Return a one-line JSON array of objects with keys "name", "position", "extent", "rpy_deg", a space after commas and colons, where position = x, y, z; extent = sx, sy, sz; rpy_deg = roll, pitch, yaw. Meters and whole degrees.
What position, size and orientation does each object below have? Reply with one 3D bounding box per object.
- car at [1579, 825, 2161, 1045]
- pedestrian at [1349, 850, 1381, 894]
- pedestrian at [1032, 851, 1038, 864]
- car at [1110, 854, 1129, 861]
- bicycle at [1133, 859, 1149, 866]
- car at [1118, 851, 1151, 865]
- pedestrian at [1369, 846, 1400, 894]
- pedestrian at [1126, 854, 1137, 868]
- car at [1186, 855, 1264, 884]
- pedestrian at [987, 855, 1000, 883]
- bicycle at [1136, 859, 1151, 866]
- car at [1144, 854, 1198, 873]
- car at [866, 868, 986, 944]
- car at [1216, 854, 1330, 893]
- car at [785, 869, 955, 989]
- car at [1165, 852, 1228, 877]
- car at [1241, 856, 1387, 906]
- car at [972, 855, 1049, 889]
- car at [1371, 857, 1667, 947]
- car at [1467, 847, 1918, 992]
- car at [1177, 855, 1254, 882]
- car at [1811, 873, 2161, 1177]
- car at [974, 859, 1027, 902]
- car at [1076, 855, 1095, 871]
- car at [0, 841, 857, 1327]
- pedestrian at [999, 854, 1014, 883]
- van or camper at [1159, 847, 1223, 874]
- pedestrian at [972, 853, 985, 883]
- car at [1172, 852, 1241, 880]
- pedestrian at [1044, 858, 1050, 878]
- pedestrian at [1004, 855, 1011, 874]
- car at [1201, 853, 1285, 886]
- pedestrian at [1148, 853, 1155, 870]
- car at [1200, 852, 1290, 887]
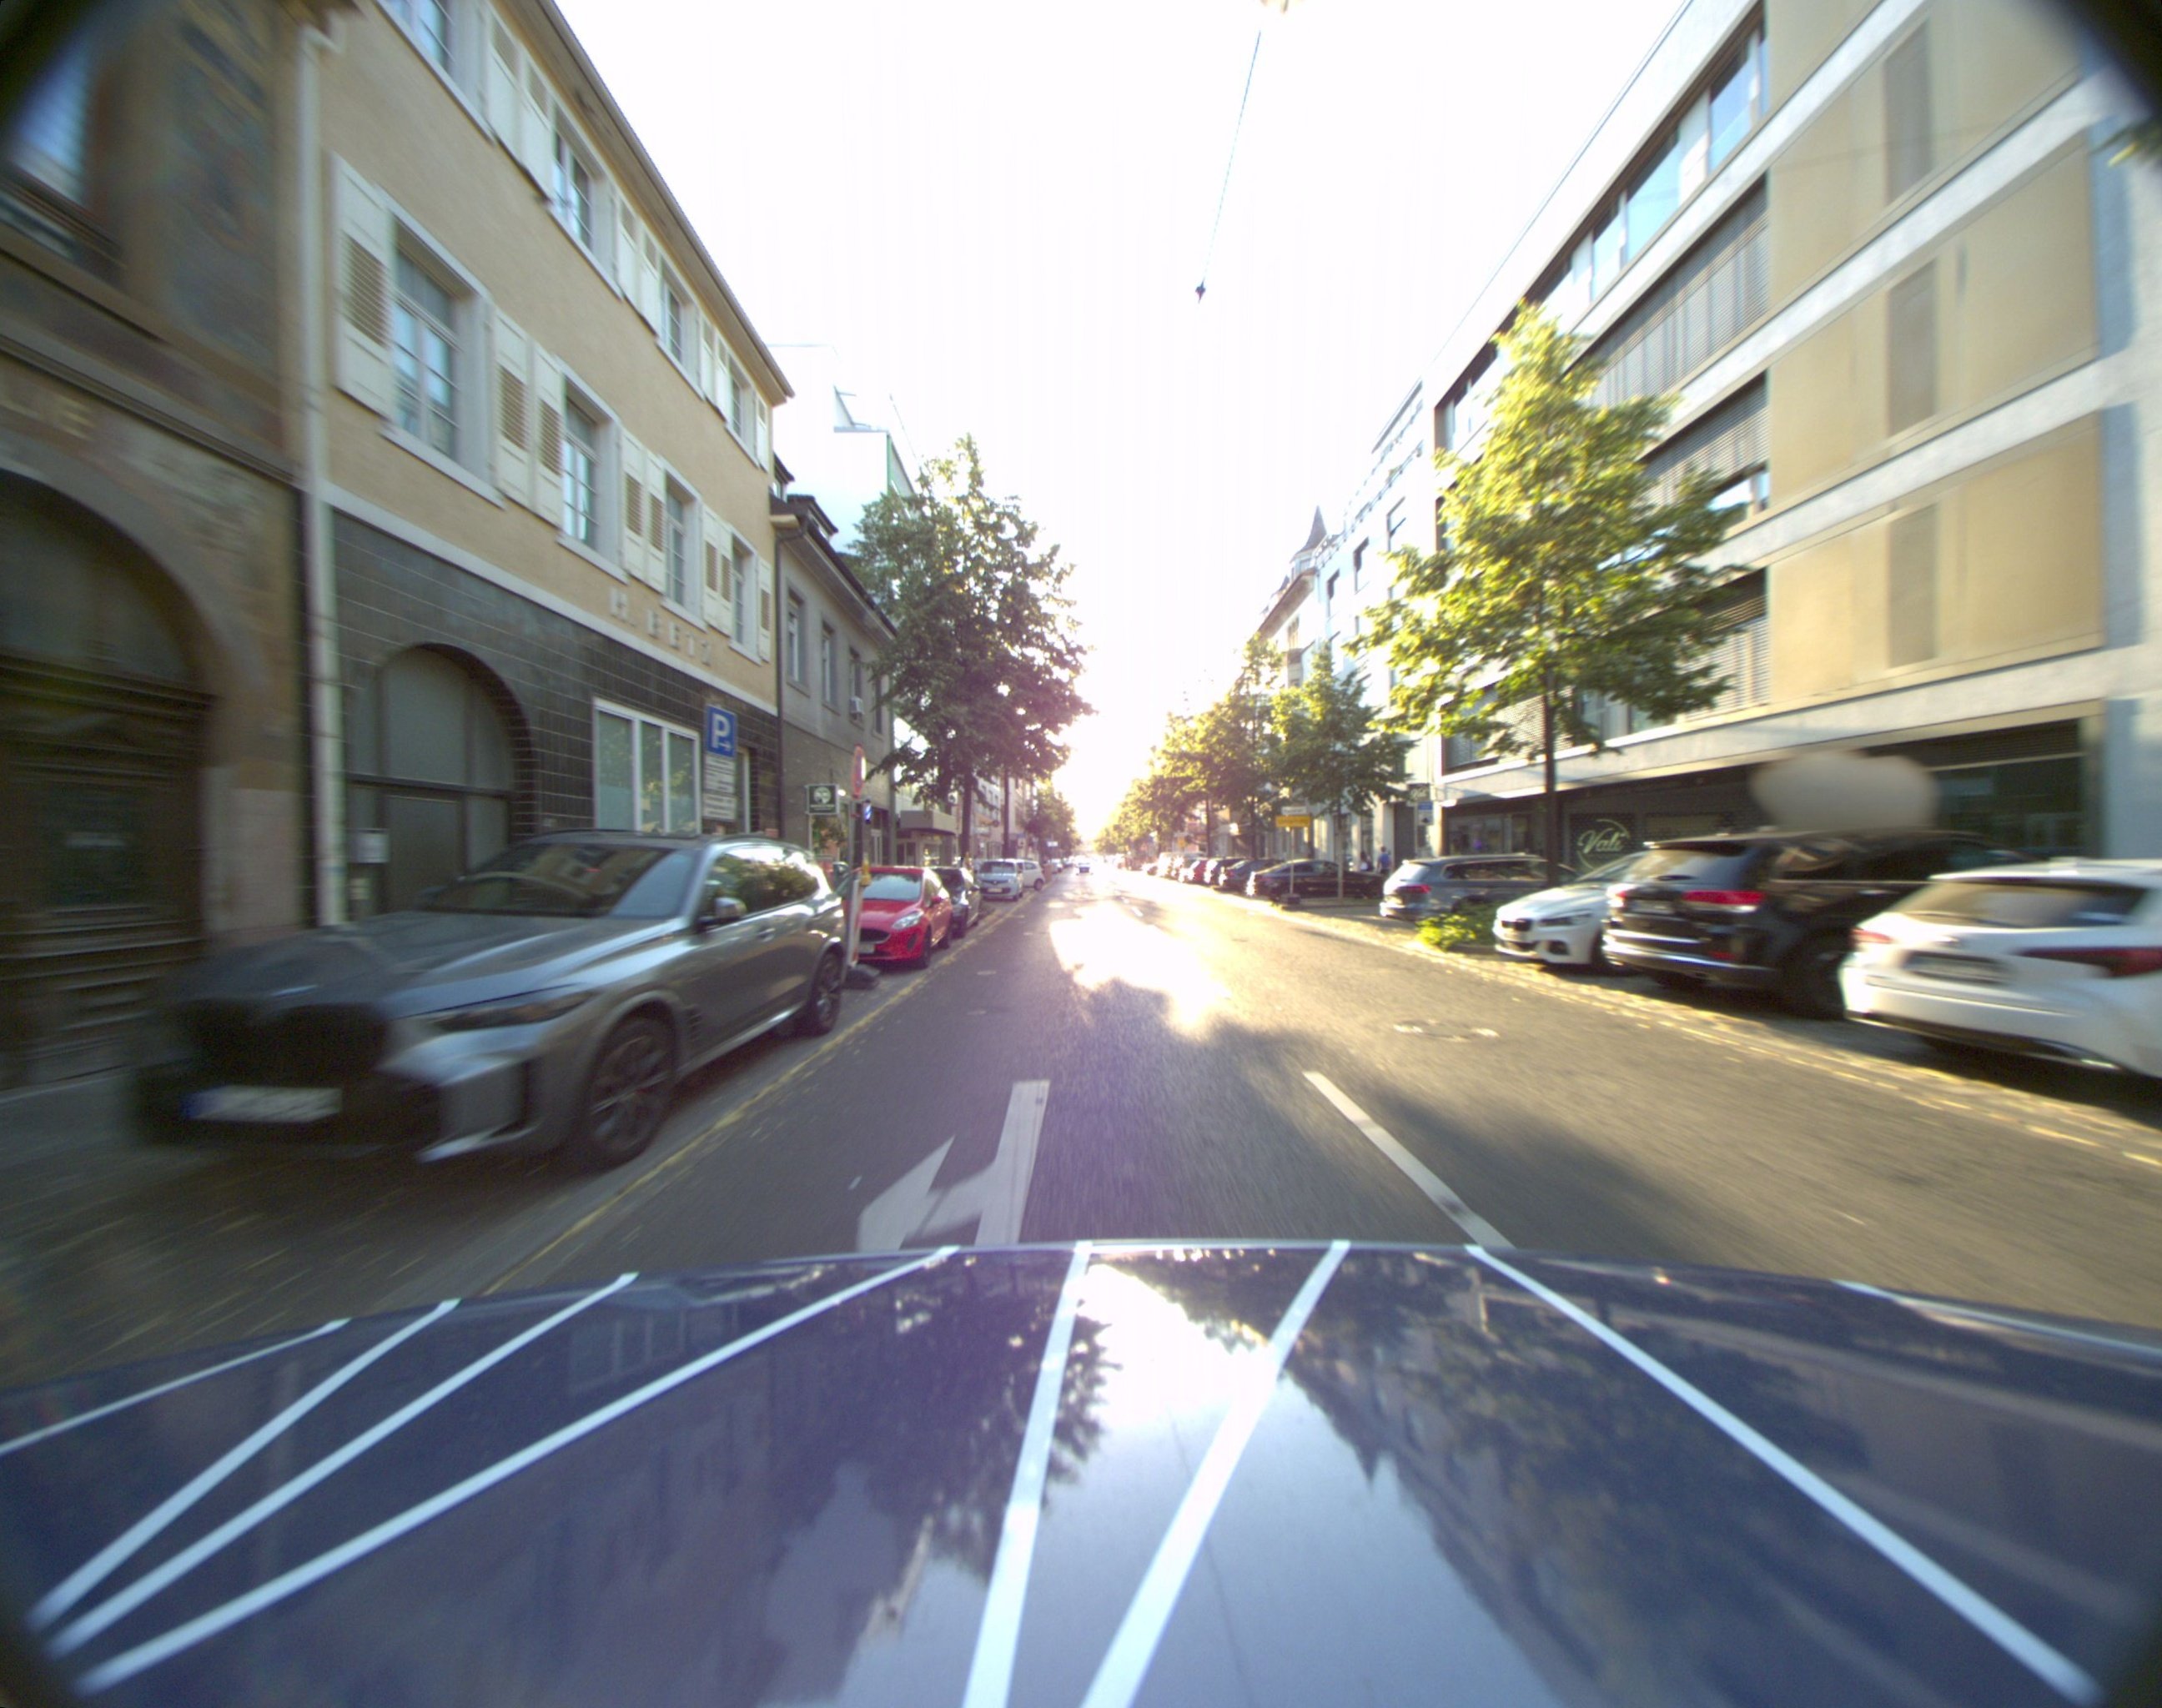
[{"name": "car", "position": [7.627, 0.683, 7.520], "extent": [4.160, 1.762, 1.889], "rpy_deg": [-2, 0, -2]}, {"name": "pedestrian", "position": [10.687, 0.677, 28.604], "extent": [0.721, 1.593, 1.094], "rpy_deg": [-3, 0, 0]}, {"name": "pedestrian", "position": [-5.900, 0.452, 96.972], "extent": [0.719, 1.565, 0.756], "rpy_deg": [1, 1, 1]}, {"name": "car", "position": [8.379, 0.793, 166.671], "extent": [4.151, 1.469, 1.827], "rpy_deg": [-1, 0, 1]}, {"name": "bicycle", "position": [7.168, 1.006, 90.669], "extent": [1.796, 0.761, 0.408], "rpy_deg": [-1, 1, 12]}, {"name": "car", "position": [7.544, 0.587, 107.623], "extent": [4.439, 1.832, 1.814], "rpy_deg": [-2, 0, -1]}, {"name": "pedestrian", "position": [11.364, 0.605, 28.485], "extent": [0.721, 1.739, 0.933], "rpy_deg": [-3, 1, 0]}, {"name": "pedestrian", "position": [5.920, 0.814, 88.683], "extent": [0.898, 1.671, 0.795], "rpy_deg": [-1, 1, -37]}, {"name": "car", "position": [7.853, 0.823, 41.521], "extent": [3.876, 1.448, 1.744], "rpy_deg": [-1, 0, -2]}, {"name": "pedestrian", "position": [-5.155, 0.864, 44.758], "extent": [0.607, 1.622, 0.668], "rpy_deg": [-1, 1, 0]}, {"name": "bicycle", "position": [7.566, 1.002, 91.644], "extent": [1.796, 0.761, 0.408], "rpy_deg": [-1, 1, 12]}, {"name": "car", "position": [7.854, 0.806, 66.479], "extent": [4.439, 1.516, 1.814], "rpy_deg": [-2, 0, -1]}, {"name": "car", "position": [-3.322, 1.073, 17.186], "extent": [1.957, 1.382, 4.423], "rpy_deg": [1, 0, -3]}, {"name": "car", "position": [7.991, 0.792, 31.875], "extent": [4.286, 1.475, 1.744], "rpy_deg": [-1, 0, -2]}, {"name": "car", "position": [-3.115, 1.036, 12.034], "extent": [1.734, 1.479, 3.899], "rpy_deg": [1, 0, -3]}, {"name": "car", "position": [8.020, 0.723, 53.147], "extent": [4.193, 1.659, 1.732], "rpy_deg": [-1, 1, 2]}, {"name": "car", "position": [7.633, 0.864, 25.185], "extent": [4.285, 1.475, 1.744], "rpy_deg": [-1, 0, 0]}, {"name": "car", "position": [-3.471, 0.894, 37.690], "extent": [1.661, 1.574, 3.632], "rpy_deg": [0, -1, 41]}, {"name": "car", "position": [8.071, 0.853, 14.294], "extent": [4.559, 1.475, 1.744], "rpy_deg": [-1, 0, 0]}, {"name": "car", "position": [7.794, 0.788, 10.015], "extent": [4.417, 1.586, 1.890], "rpy_deg": [-2, 0, -1]}, {"name": "car", "position": [7.720, 0.829, 43.814], "extent": [4.052, 1.378, 1.744], "rpy_deg": [-2, 0, -3]}, {"name": "car", "position": [7.537, 0.876, 4.837], "extent": [4.160, 1.413, 1.766], "rpy_deg": [-2, 0, -2]}, {"name": "car", "position": [-3.050, 0.976, 29.392], "extent": [1.695, 1.534, 3.552], "rpy_deg": [1, 0, 0]}, {"name": "car", "position": [0.474, 0.903, 76.511], "extent": [1.825, 1.469, 4.155], "rpy_deg": [-1, 0, 1]}, {"name": "car", "position": [-3.275, 0.837, 5.120], "extent": [2.044, 1.727, 4.711], "rpy_deg": [1, 0, 1]}, {"name": "pedestrian", "position": [-4.363, 0.846, 44.447], "extent": [0.748, 1.622, 0.855], "rpy_deg": [-1, 1, 0]}, {"name": "van or camper", "position": [8.061, 0.475, 56.061], "extent": [4.469, 1.945, 1.789], "rpy_deg": [-1, 0, 1]}, {"name": "pedestrian", "position": [-5.994, 0.796, 44.512], "extent": [0.607, 1.728, 0.668], "rpy_deg": [-1, 1, 0]}, {"name": "car", "position": [7.909, 0.748, 48.282], "extent": [4.192, 1.528, 1.745], "rpy_deg": [-2, 1, 6]}, {"name": "pedestrian", "position": [-2.610, 1.070, 58.064], "extent": [0.448, 1.472, 0.547], "rpy_deg": [1, 1, 1]}, {"name": "pedestrian", "position": [-6.111, 0.887, 63.403], "extent": [0.493, 1.614, 0.573], "rpy_deg": [1, 1, 1]}, {"name": "car", "position": [8.267, 0.764, 38.939], "extent": [3.876, 1.558, 1.744], "rpy_deg": [-1, 0, -2]}, {"name": "pedestrian", "position": [6.822, 0.750, 73.554], "extent": [0.550, 1.638, 0.721], "rpy_deg": [-1, 1, 3]}, {"name": "car", "position": [7.829, 0.713, 36.527], "extent": [3.876, 1.558, 1.744], "rpy_deg": [-1, 0, -2]}]
